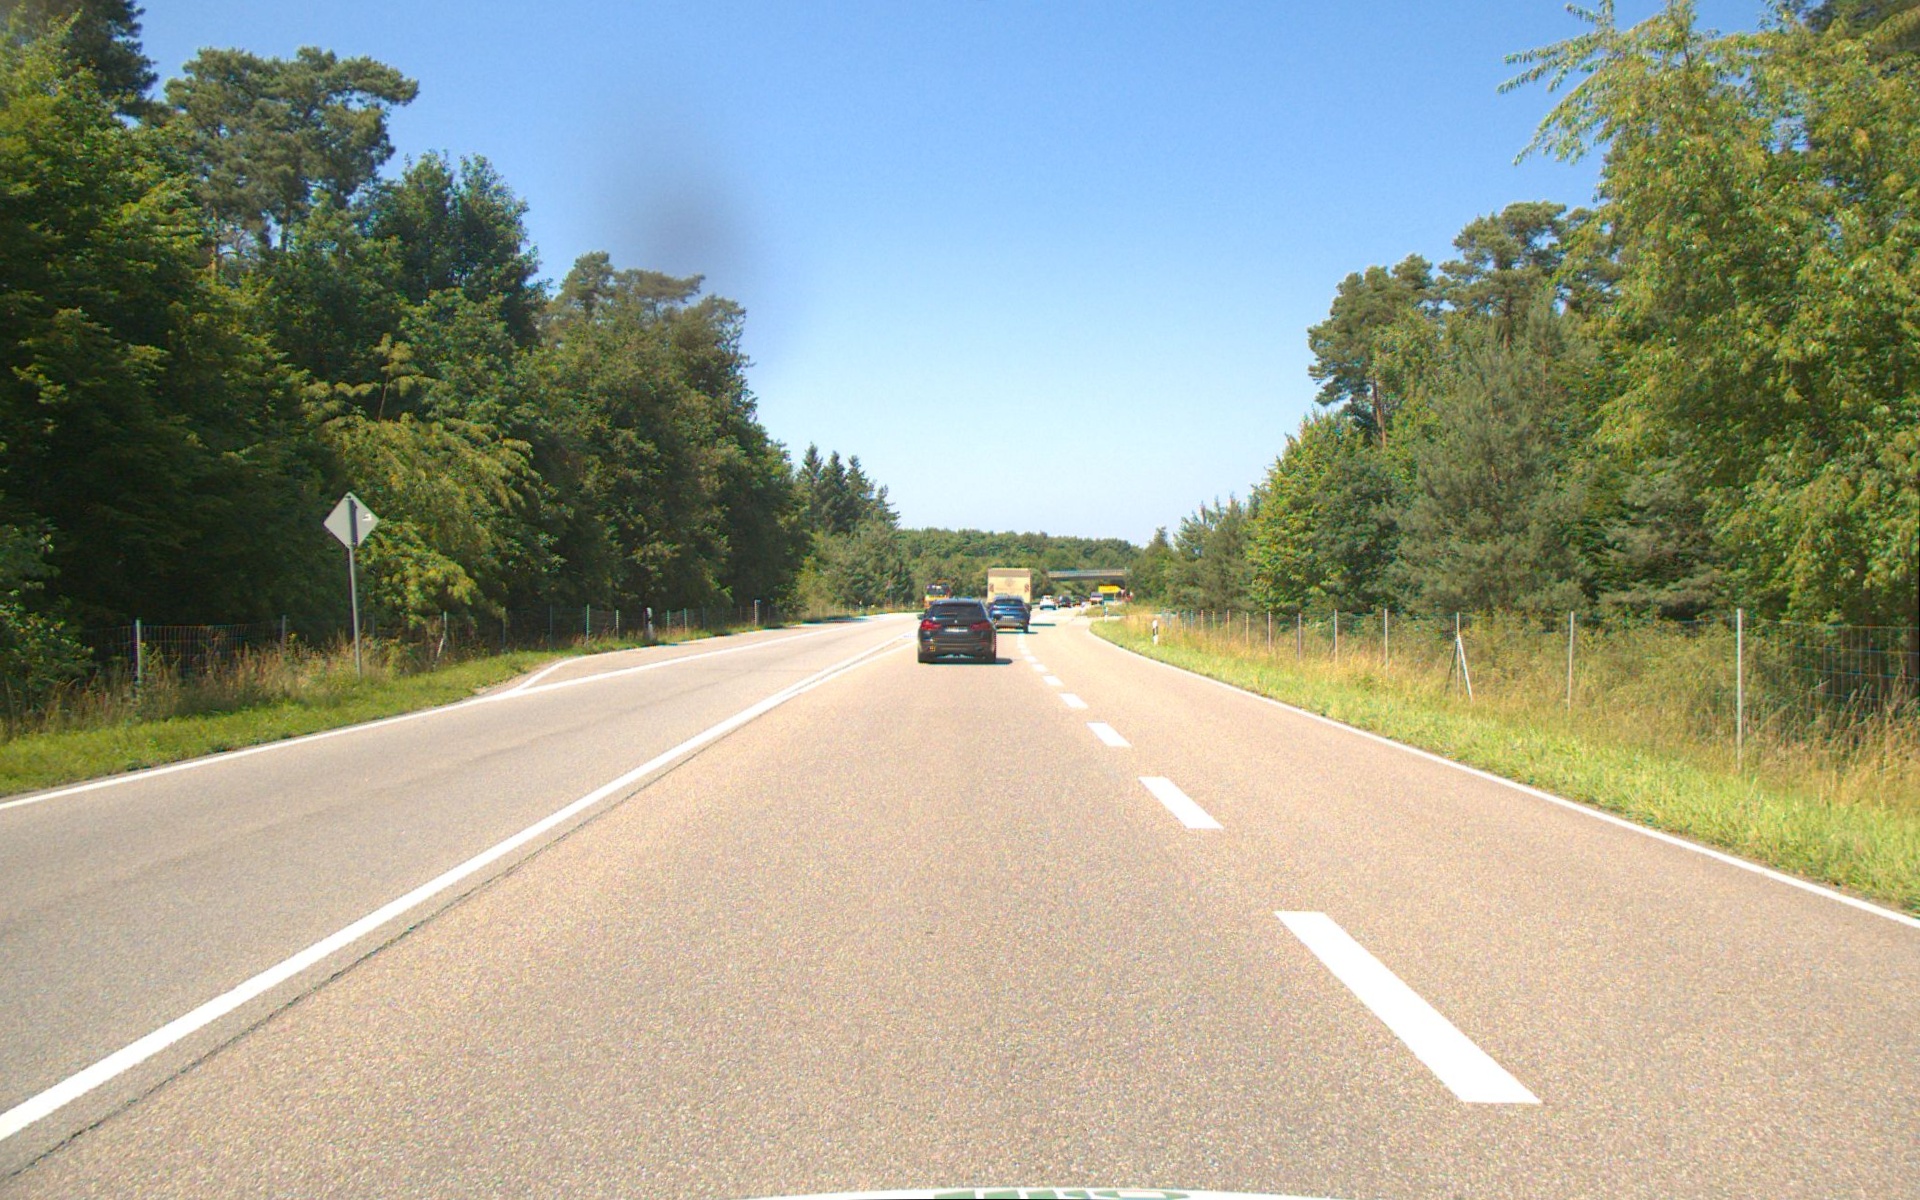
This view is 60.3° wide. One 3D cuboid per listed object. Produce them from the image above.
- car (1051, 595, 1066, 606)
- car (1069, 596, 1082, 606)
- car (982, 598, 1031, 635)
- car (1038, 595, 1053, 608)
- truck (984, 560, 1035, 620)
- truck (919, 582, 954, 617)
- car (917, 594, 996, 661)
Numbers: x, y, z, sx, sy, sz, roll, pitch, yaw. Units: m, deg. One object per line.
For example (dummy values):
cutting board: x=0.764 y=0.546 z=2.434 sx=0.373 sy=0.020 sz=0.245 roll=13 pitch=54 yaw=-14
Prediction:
car: x=13.841 y=0.102 z=232.536 sx=1.952 sy=1.445 sz=4.001 roll=1 pitch=0 yaw=2
car: x=18.264 y=0.155 z=261.585 sx=1.952 sy=1.665 sz=4.002 roll=-1 pitch=0 yaw=3
car: x=2.072 y=0.703 z=74.417 sx=1.908 sy=1.568 sz=3.998 roll=-1 pitch=0 yaw=-3
car: x=10.440 y=0.186 z=202.464 sx=1.824 sy=1.633 sz=4.001 roll=1 pitch=0 yaw=2
truck: x=2.903 y=-0.606 z=98.329 sx=2.904 sy=3.447 sz=6.438 roll=0 pitch=0 yaw=0
truck: x=-1.917 y=-0.048 z=136.729 sx=2.348 sy=2.770 sz=6.554 roll=1 pitch=0 yaw=3
car: x=-0.108 y=0.611 z=39.346 sx=1.783 sy=1.496 sz=3.999 roll=0 pitch=0 yaw=-1
